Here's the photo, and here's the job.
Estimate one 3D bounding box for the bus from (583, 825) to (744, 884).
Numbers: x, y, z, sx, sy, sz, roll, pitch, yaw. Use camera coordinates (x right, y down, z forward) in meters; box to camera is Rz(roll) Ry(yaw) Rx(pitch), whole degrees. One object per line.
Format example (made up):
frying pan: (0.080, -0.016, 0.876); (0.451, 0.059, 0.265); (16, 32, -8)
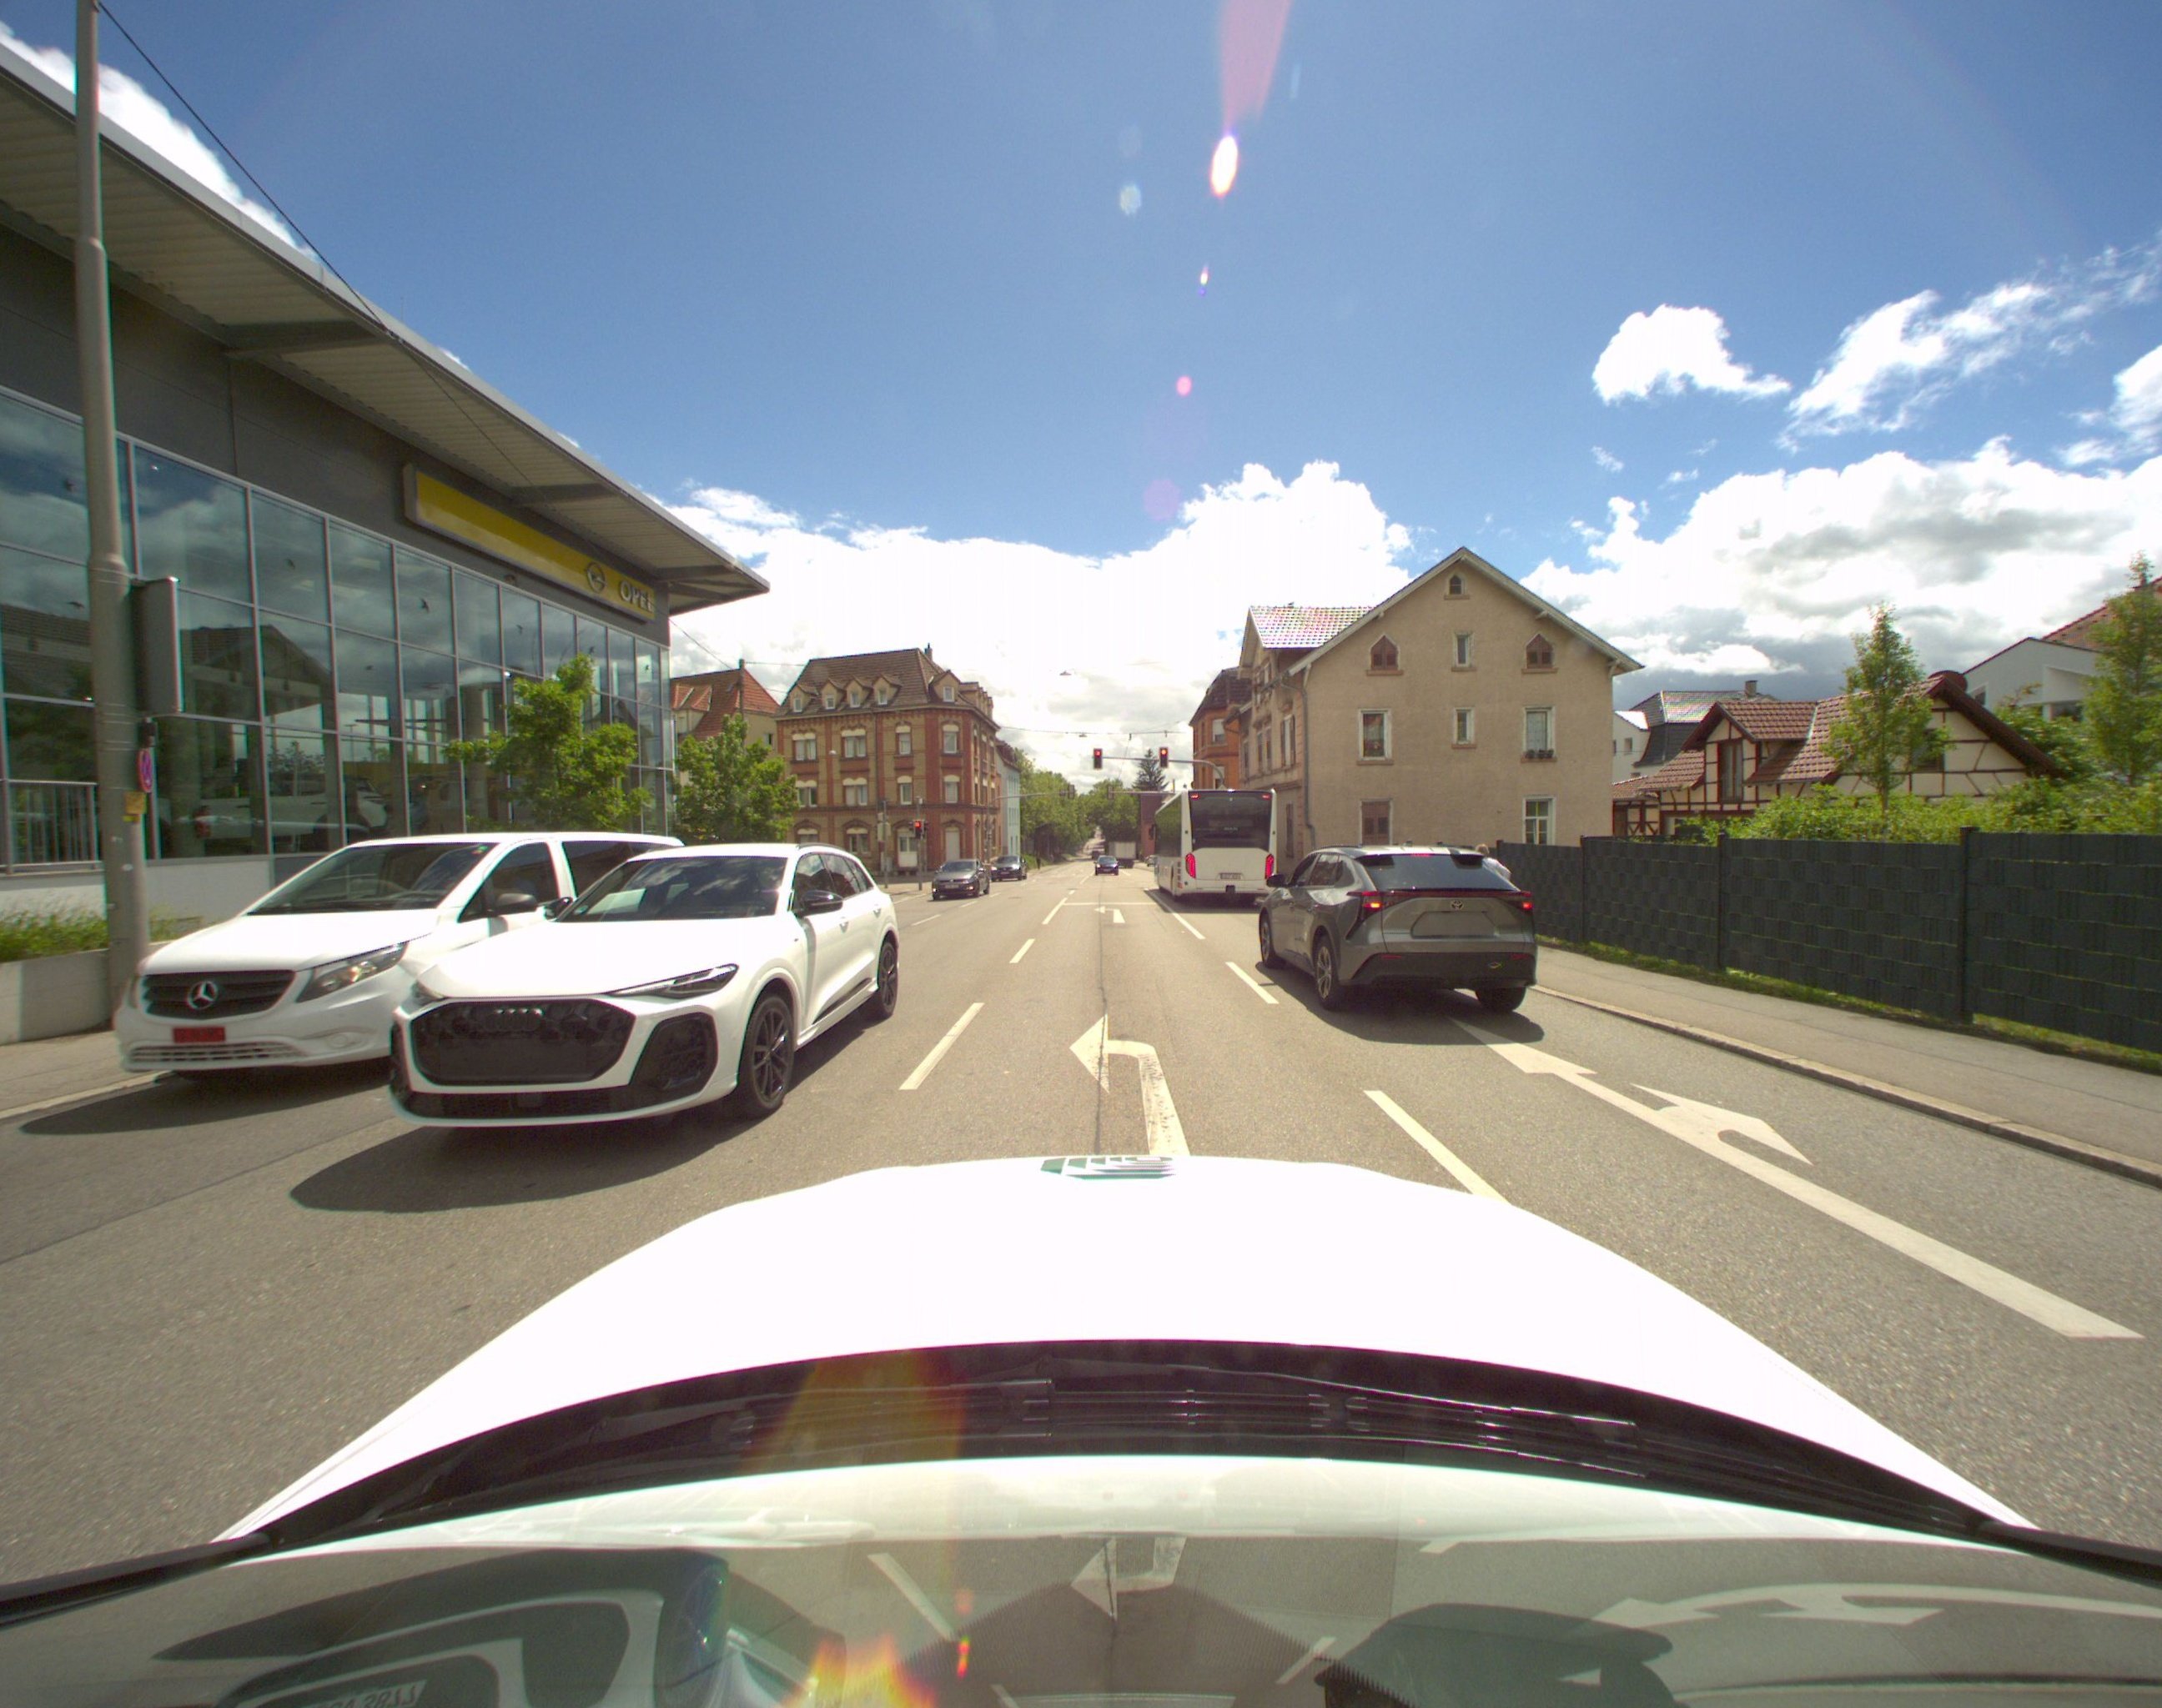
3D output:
bus: (-27.729, -0.011, 53.789); (12.111, 3.621, 2.788); (0, 0, 26)

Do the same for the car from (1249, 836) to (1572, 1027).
car: (3.277, 0.641, 9.259); (1.912, 1.613, 4.685); (0, 0, 2)

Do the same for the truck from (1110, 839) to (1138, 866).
truck: (5.261, -0.200, 101.341); (2.917, 3.081, 7.883); (-2, 0, 0)

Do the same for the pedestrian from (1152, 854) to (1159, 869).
pedestrian: (8.976, 0.856, 98.030); (0.736, 1.750, 0.619); (-2, -1, 1)

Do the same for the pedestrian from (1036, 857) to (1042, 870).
pedestrian: (-5.085, 1.173, 98.241); (0.727, 1.565, 0.561); (-1, -1, 0)

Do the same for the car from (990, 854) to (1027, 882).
car: (-4.364, 0.818, 49.695); (1.752, 1.522, 3.960); (-2, 0, 2)

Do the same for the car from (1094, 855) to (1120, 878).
car: (1.923, 0.903, 60.185); (1.752, 1.516, 3.795); (-2, 0, 2)

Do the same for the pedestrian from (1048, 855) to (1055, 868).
pedestrian: (-4.494, 1.109, 124.448); (0.991, 2.014, 1.189); (-2, -1, 2)

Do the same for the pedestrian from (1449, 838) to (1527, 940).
pedestrian: (6.494, 0.543, 13.032); (0.856, 1.562, 0.713); (-2, -1, 1)

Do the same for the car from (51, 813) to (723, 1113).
car: (-5.714, 0.703, 7.959); (1.912, 1.859, 5.201); (-4, 0, 1)

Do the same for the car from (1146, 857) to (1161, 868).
car: (9.965, 1.179, 111.927); (1.788, 1.409, 4.000); (-2, 0, 1)

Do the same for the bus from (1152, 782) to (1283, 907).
bus: (4.093, -0.292, 27.415); (2.662, 3.155, 12.468); (-2, 0, 2)

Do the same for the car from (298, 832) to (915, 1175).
car: (-2.735, 0.709, 6.122); (1.912, 1.613, 4.418); (-1, 0, 2)

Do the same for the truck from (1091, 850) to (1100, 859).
truck: (3.382, 0.048, 186.680); (1.986, 2.014, 4.001); (0, -1, 2)

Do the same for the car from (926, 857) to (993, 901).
car: (-4.497, 0.895, 30.537); (1.752, 1.413, 3.735); (-4, 0, 2)
